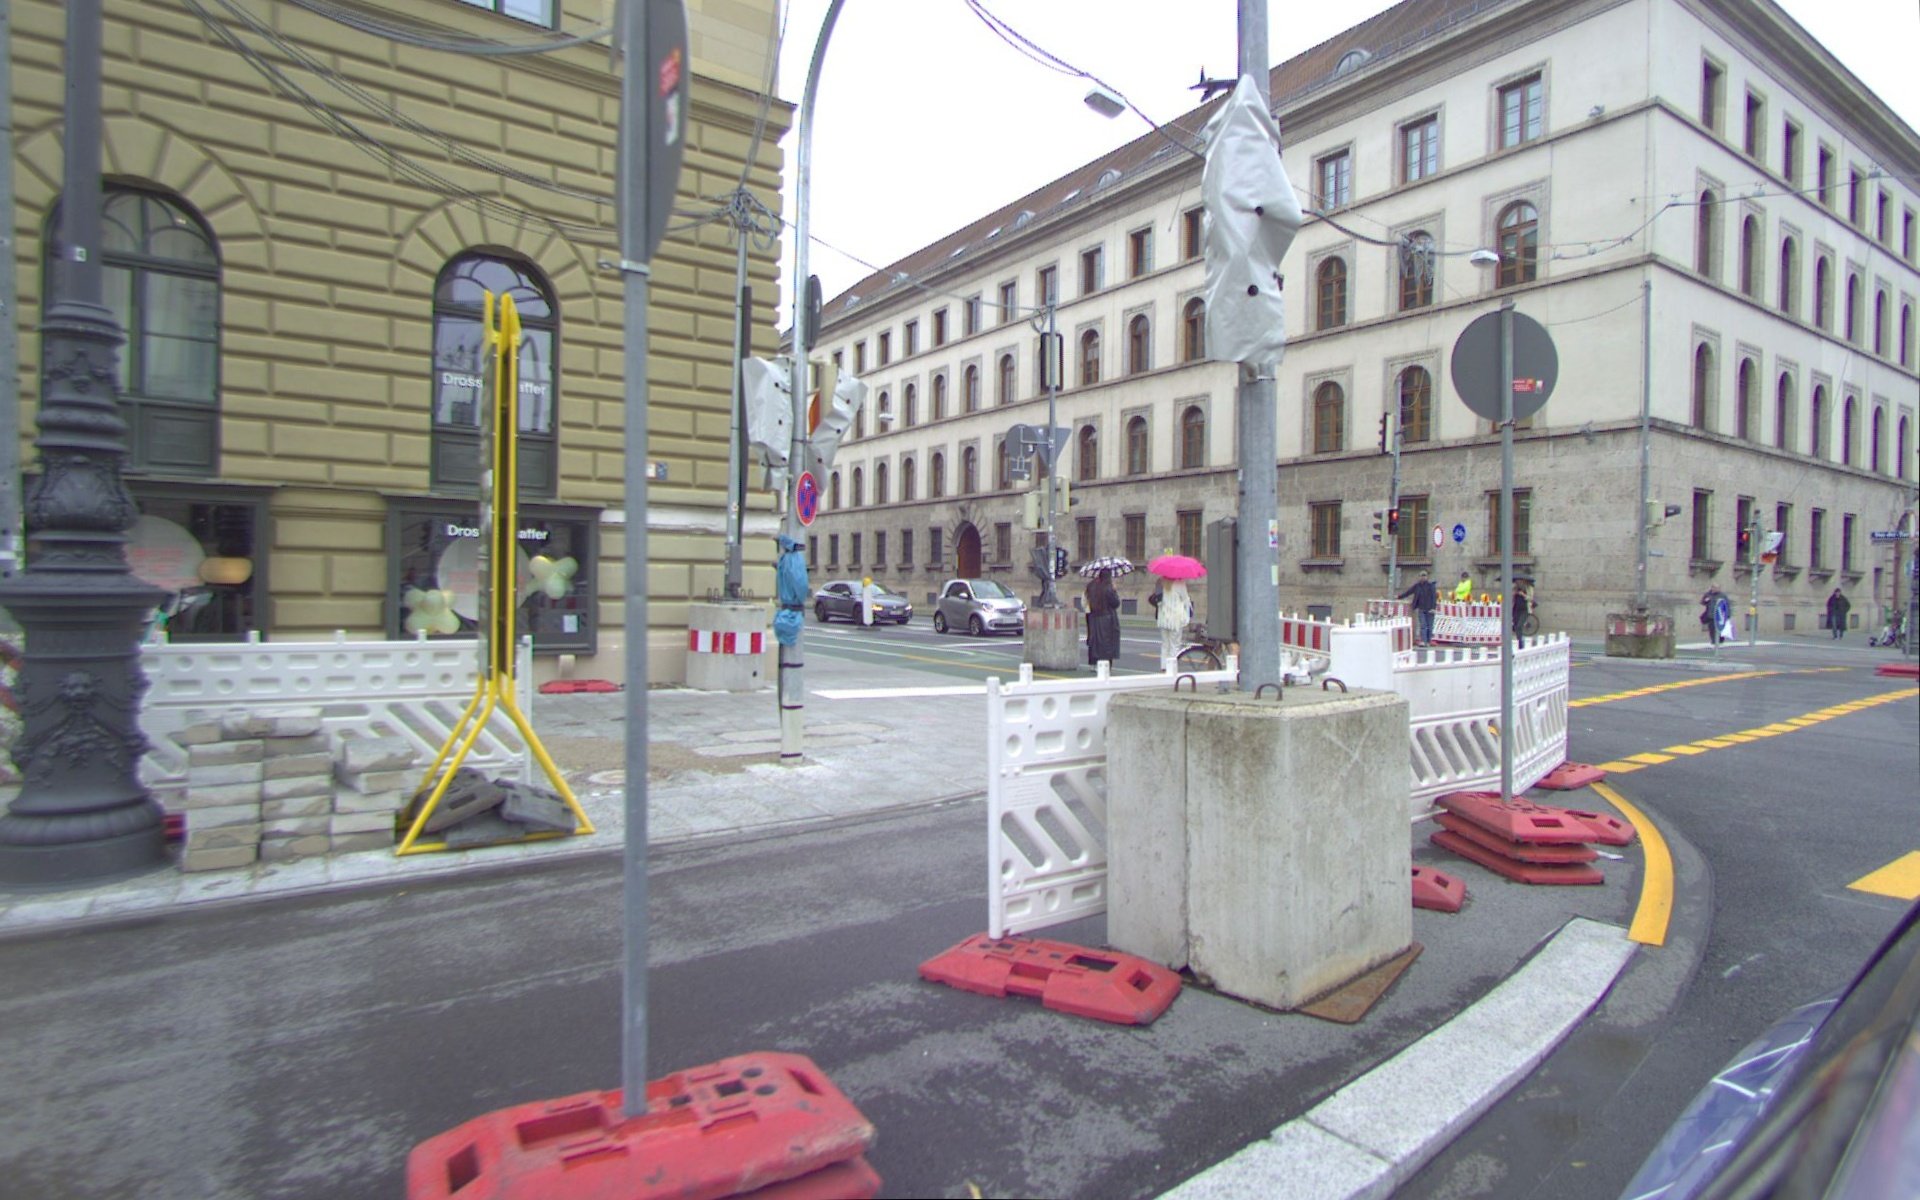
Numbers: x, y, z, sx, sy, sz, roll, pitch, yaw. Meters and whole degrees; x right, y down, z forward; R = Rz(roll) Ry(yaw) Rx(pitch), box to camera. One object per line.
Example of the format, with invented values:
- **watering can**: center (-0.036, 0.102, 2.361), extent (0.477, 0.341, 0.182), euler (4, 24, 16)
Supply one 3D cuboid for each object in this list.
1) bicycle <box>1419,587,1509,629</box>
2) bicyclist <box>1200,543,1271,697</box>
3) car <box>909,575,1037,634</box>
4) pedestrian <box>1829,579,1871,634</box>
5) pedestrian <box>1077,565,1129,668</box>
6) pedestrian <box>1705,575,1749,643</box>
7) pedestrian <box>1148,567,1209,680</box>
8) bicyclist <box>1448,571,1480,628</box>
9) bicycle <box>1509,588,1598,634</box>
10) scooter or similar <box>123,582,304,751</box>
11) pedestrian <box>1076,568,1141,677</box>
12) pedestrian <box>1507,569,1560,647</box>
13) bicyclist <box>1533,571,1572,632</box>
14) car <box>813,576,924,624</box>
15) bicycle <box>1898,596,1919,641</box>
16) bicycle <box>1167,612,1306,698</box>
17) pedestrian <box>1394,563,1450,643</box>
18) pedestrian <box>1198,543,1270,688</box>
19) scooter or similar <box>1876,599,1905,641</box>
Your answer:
- **bicycle**: center (15.996, 0.237, 32.179), extent (0.776, 1.258, 2.444), euler (-1, 2, -42)
- **bicyclist**: center (3.454, 0.238, 12.719), extent (0.786, 1.877, 0.566), euler (0, 1, 9)
- **car**: center (0.295, 0.073, 28.187), extent (1.603, 1.522, 4.002), euler (-1, 1, -34)
- **pedestrian**: center (28.429, 0.201, 32.345), extent (0.712, 1.674, 0.740), euler (0, 4, -31)
- **pedestrian**: center (2.327, 0.249, 16.509), extent (0.522, 1.640, 0.674), euler (-1, 1, -31)
- **pedestrian**: center (19.597, 0.220, 25.857), extent (0.737, 1.674, 0.715), euler (5, 4, 44)
- **pedestrian**: center (3.170, 0.323, 14.684), extent (0.691, 1.586, 0.542), euler (-1, 1, -31)
- **bicyclist**: center (16.009, -0.035, 32.149), extent (0.787, 1.770, 0.687), euler (-1, 1, -43)
- **bicycle**: center (17.536, 0.297, 29.957), extent (0.774, 1.258, 2.202), euler (-1, 2, -29)
- **scooter or similar**: center (-5.923, 0.494, 8.085), extent (1.118, 1.265, 0.351), euler (-1, 1, -31)
- **pedestrian**: center (2.213, 0.314, 15.112), extent (0.691, 1.586, 0.682), euler (-1, 1, -31)
- **pedestrian**: center (13.492, 0.169, 23.825), extent (0.829, 1.794, 0.741), euler (-1, 1, -22)
- **bicyclist**: center (17.539, 0.031, 29.941), extent (0.785, 1.798, 0.689), euler (-1, 1, -30)
- **car**: center (-3.153, -0.053, 34.056), extent (1.887, 1.459, 4.308), euler (-2, 2, -34)
- **bicycle**: center (28.201, 0.528, 29.937), extent (1.954, 1.258, 0.381), euler (-1, 2, -40)
- **bicycle**: center (3.447, 0.677, 12.729), extent (1.629, 1.024, 0.585), euler (0, 1, 9)
- **pedestrian**: center (10.517, 0.050, 23.042), extent (0.505, 1.765, 1.041), euler (0, 1, -43)
- **pedestrian**: center (3.696, 0.190, 13.679), extent (0.691, 1.908, 0.642), euler (-1, 1, -29)
- **scooter or similar**: center (27.717, 0.574, 30.133), extent (1.954, 1.158, 0.381), euler (-2, 2, -40)
